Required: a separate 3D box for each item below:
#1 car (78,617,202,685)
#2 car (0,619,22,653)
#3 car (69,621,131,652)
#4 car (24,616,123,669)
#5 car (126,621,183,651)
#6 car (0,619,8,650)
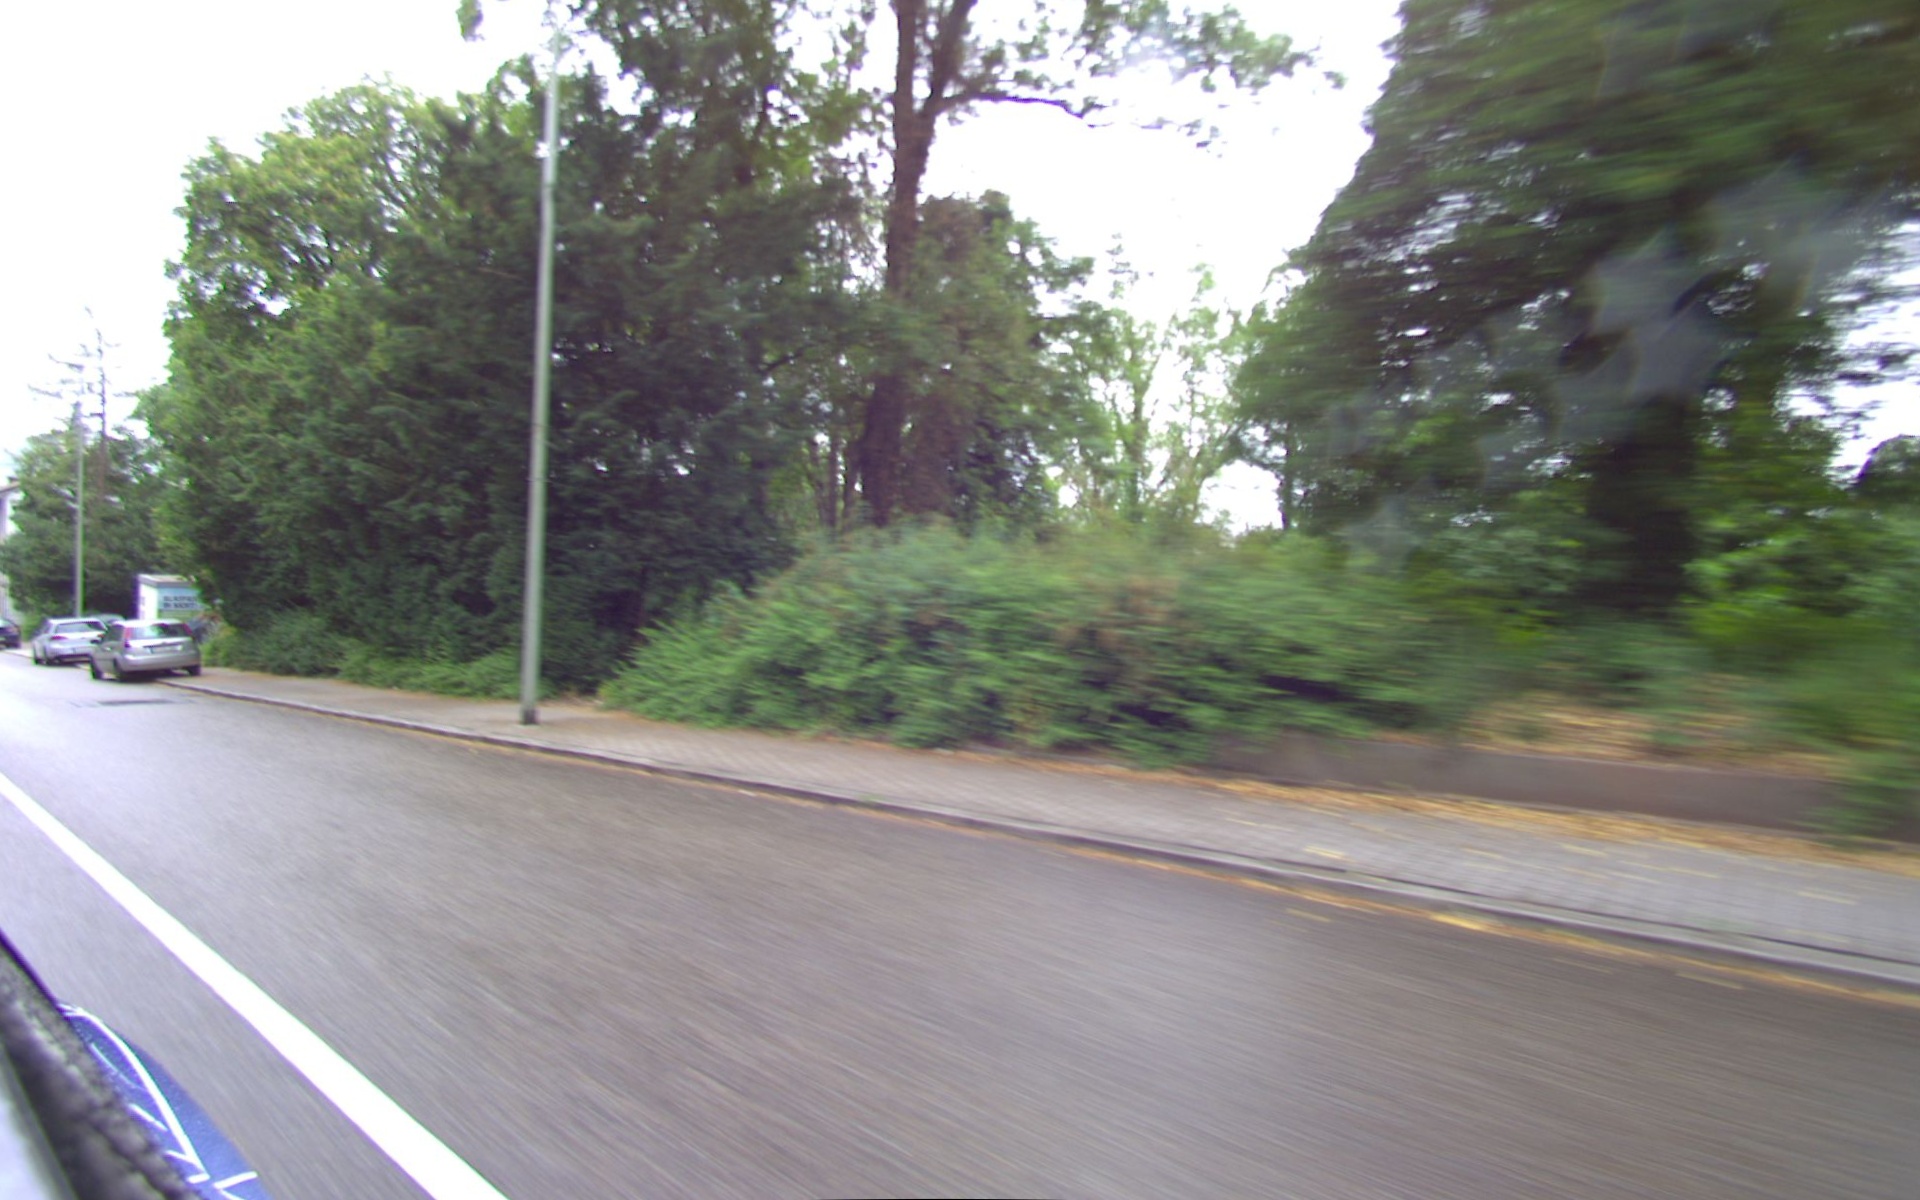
[{"bbox_3d":[-20.556,1.219,25.326,3.924,1.510,1.610,-1,0,39],"label":"car"},{"bbox_3d":[-44.870,1.622,46.607,4.753,1.505,1.840,-1,-5,41],"label":"car"},{"bbox_3d":[-41.973,1.746,49.343,4.395,1.470,1.704,-1,-2,42],"label":"car"},{"bbox_3d":[-29.103,1.396,33.183,4.238,1.624,1.866,-1,-4,42],"label":"car"},{"bbox_3d":[-40.469,1.788,50.809,3.773,1.470,1.604,-1,-2,42],"label":"car"},{"bbox_3d":[-49.746,1.740,51.532,4.150,1.581,1.637,-2,-3,44],"label":"car"}]
